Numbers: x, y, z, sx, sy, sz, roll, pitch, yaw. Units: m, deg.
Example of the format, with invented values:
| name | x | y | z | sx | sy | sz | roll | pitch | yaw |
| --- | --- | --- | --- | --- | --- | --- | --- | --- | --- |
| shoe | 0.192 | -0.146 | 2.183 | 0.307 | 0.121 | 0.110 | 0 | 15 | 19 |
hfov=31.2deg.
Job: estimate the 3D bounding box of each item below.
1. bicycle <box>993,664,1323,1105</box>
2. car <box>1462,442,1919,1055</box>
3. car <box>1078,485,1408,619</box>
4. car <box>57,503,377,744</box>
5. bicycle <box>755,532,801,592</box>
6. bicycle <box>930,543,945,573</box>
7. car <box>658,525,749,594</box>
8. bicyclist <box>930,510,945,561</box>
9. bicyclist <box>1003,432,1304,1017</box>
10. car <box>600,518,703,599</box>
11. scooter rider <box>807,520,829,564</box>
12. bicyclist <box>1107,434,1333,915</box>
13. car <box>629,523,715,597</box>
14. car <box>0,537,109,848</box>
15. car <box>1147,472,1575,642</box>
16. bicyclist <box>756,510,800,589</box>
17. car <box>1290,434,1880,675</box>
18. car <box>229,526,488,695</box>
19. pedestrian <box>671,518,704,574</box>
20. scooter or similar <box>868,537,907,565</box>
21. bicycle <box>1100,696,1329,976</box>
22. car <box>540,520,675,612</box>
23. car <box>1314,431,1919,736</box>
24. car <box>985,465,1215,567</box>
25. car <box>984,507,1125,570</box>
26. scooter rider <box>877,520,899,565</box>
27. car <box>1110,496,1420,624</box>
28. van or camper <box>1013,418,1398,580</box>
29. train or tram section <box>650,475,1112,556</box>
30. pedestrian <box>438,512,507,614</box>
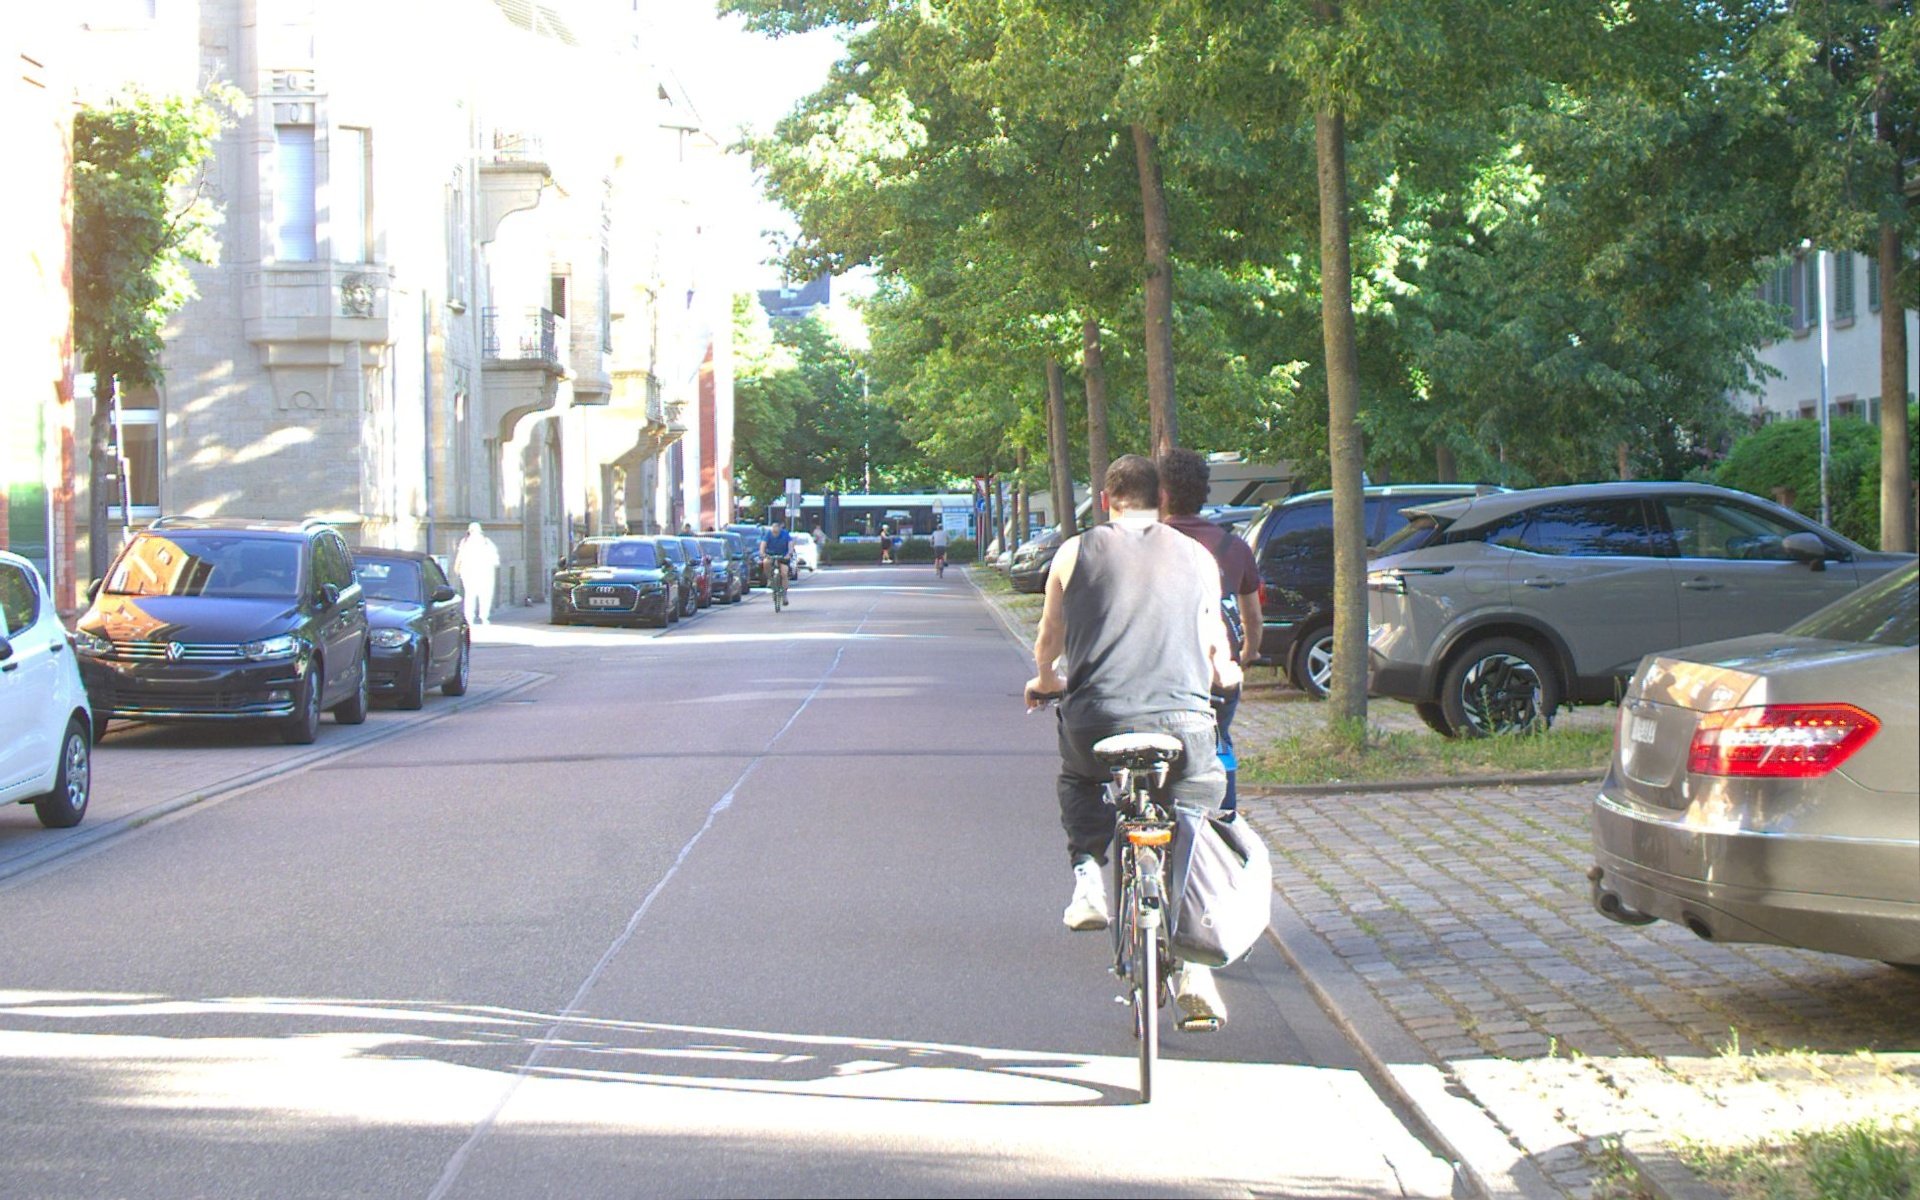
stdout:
| name | x | y | z | sx | sy | sz | roll | pitch | yaw |
| --- | --- | --- | --- | --- | --- | --- | --- | --- | --- |
| bicycle | 0.511 | 0.740 | 9.690 | 0.737 | 1.050 | 1.956 | 1 | 0 | -2 |
| car | 4.069 | 0.233 | 9.910 | 4.837 | 1.534 | 1.895 | -4 | 1 | -2 |
| car | 4.083 | -0.710 | 50.106 | 4.619 | 1.703 | 1.833 | -3 | 1 | 1 |
| car | -5.563 | 0.136 | 26.219 | 1.669 | 1.675 | 4.351 | 0 | 1 | -2 |
| bicycle | -3.436 | -0.715 | 64.985 | 0.757 | 1.104 | 1.907 | -1 | 1 | -1 |
| bicycle | -0.751 | -1.414 | 116.637 | 0.498 | 1.002 | 1.474 | 0 | 0 | 0 |
| car | -5.735 | -0.929 | 77.167 | 1.675 | 1.425 | 4.551 | 2 | 2 | 0 |
| bicyclist | -0.765 | -2.191 | 116.652 | 0.486 | 1.738 | 0.656 | 1 | 0 | -1 |
| bicyclist | 0.521 | 0.330 | 9.605 | 0.730 | 1.542 | 0.885 | 1 | 0 | -2 |
| car | -5.725 | -0.776 | 64.143 | 1.696 | 1.448 | 4.028 | 0 | 1 | -2 |
| scooter rider | -6.088 | -2.484 | 147.540 | 0.871 | 1.835 | 0.671 | 1 | 0 | -5 |
| bicyclist | 0.903 | 0.244 | 12.148 | 0.689 | 1.621 | 0.998 | 1 | 1 | 0 |
| car | -5.940 | -0.851 | 71.171 | 1.628 | 1.448 | 3.838 | 1 | 1 | -3 |
| car | -5.373 | 0.444 | 16.609 | 1.566 | 1.465 | 3.591 | 0 | 2 | 1 |
| car | 4.607 | -0.507 | 39.828 | 4.538 | 1.628 | 1.813 | -4 | 1 | -6 |
| bicyclist | -3.444 | -0.951 | 64.950 | 0.759 | 1.449 | 0.949 | -1 | 0 | -1 |
| car | 5.198 | -0.394 | 29.062 | 4.581 | 1.671 | 1.907 | -4 | 1 | 2 |
| car | -5.504 | 0.059 | 31.922 | 1.635 | 1.406 | 4.333 | 2 | 1 | 0 |
| pedestrian | -8.429 | -1.668 | 106.288 | 0.938 | 1.736 | 0.735 | 1 | 0 | 1 |
| scooter or similar | -3.034 | -2.065 | 143.922 | 1.598 | 1.143 | 0.678 | 1 | 0 | -5 |
| bicycle | 0.861 | 0.790 | 12.040 | 0.633 | 0.796 | 1.833 | -1 | 1 | -1 |
| car | -5.894 | -0.585 | 57.993 | 1.811 | 1.422 | 4.898 | 2 | 1 | -1 |
| car | 4.646 | -0.153 | 21.818 | 4.475 | 1.628 | 1.875 | -4 | 1 | -1 |
| car | 4.502 | -2.716 | 111.551 | 7.146 | 2.968 | 2.465 | -2 | 1 | -3 |
| car | 2.861 | -1.858 | 104.281 | 4.082 | 1.644 | 1.641 | -4 | 1 | -2 |
| scooter rider | -3.005 | -2.405 | 143.924 | 0.871 | 1.835 | 0.671 | 1 | 0 | -5 |
| car | 4.183 | -0.572 | 47.571 | 4.068 | 1.471 | 1.694 | -4 | 2 | 1 |
| van or camper | 4.698 | -1.949 | 66.653 | 7.147 | 2.638 | 2.464 | -4 | 1 | 2 |
| train or tram section | -3.915 | -4.276 | 177.313 | 23.799 | 3.696 | 4.287 | 1 | 1 | -22 |
| pedestrian | -7.732 | -0.594 | 54.538 | 0.888 | 1.571 | 1.053 | -2 | 2 | 0 |
